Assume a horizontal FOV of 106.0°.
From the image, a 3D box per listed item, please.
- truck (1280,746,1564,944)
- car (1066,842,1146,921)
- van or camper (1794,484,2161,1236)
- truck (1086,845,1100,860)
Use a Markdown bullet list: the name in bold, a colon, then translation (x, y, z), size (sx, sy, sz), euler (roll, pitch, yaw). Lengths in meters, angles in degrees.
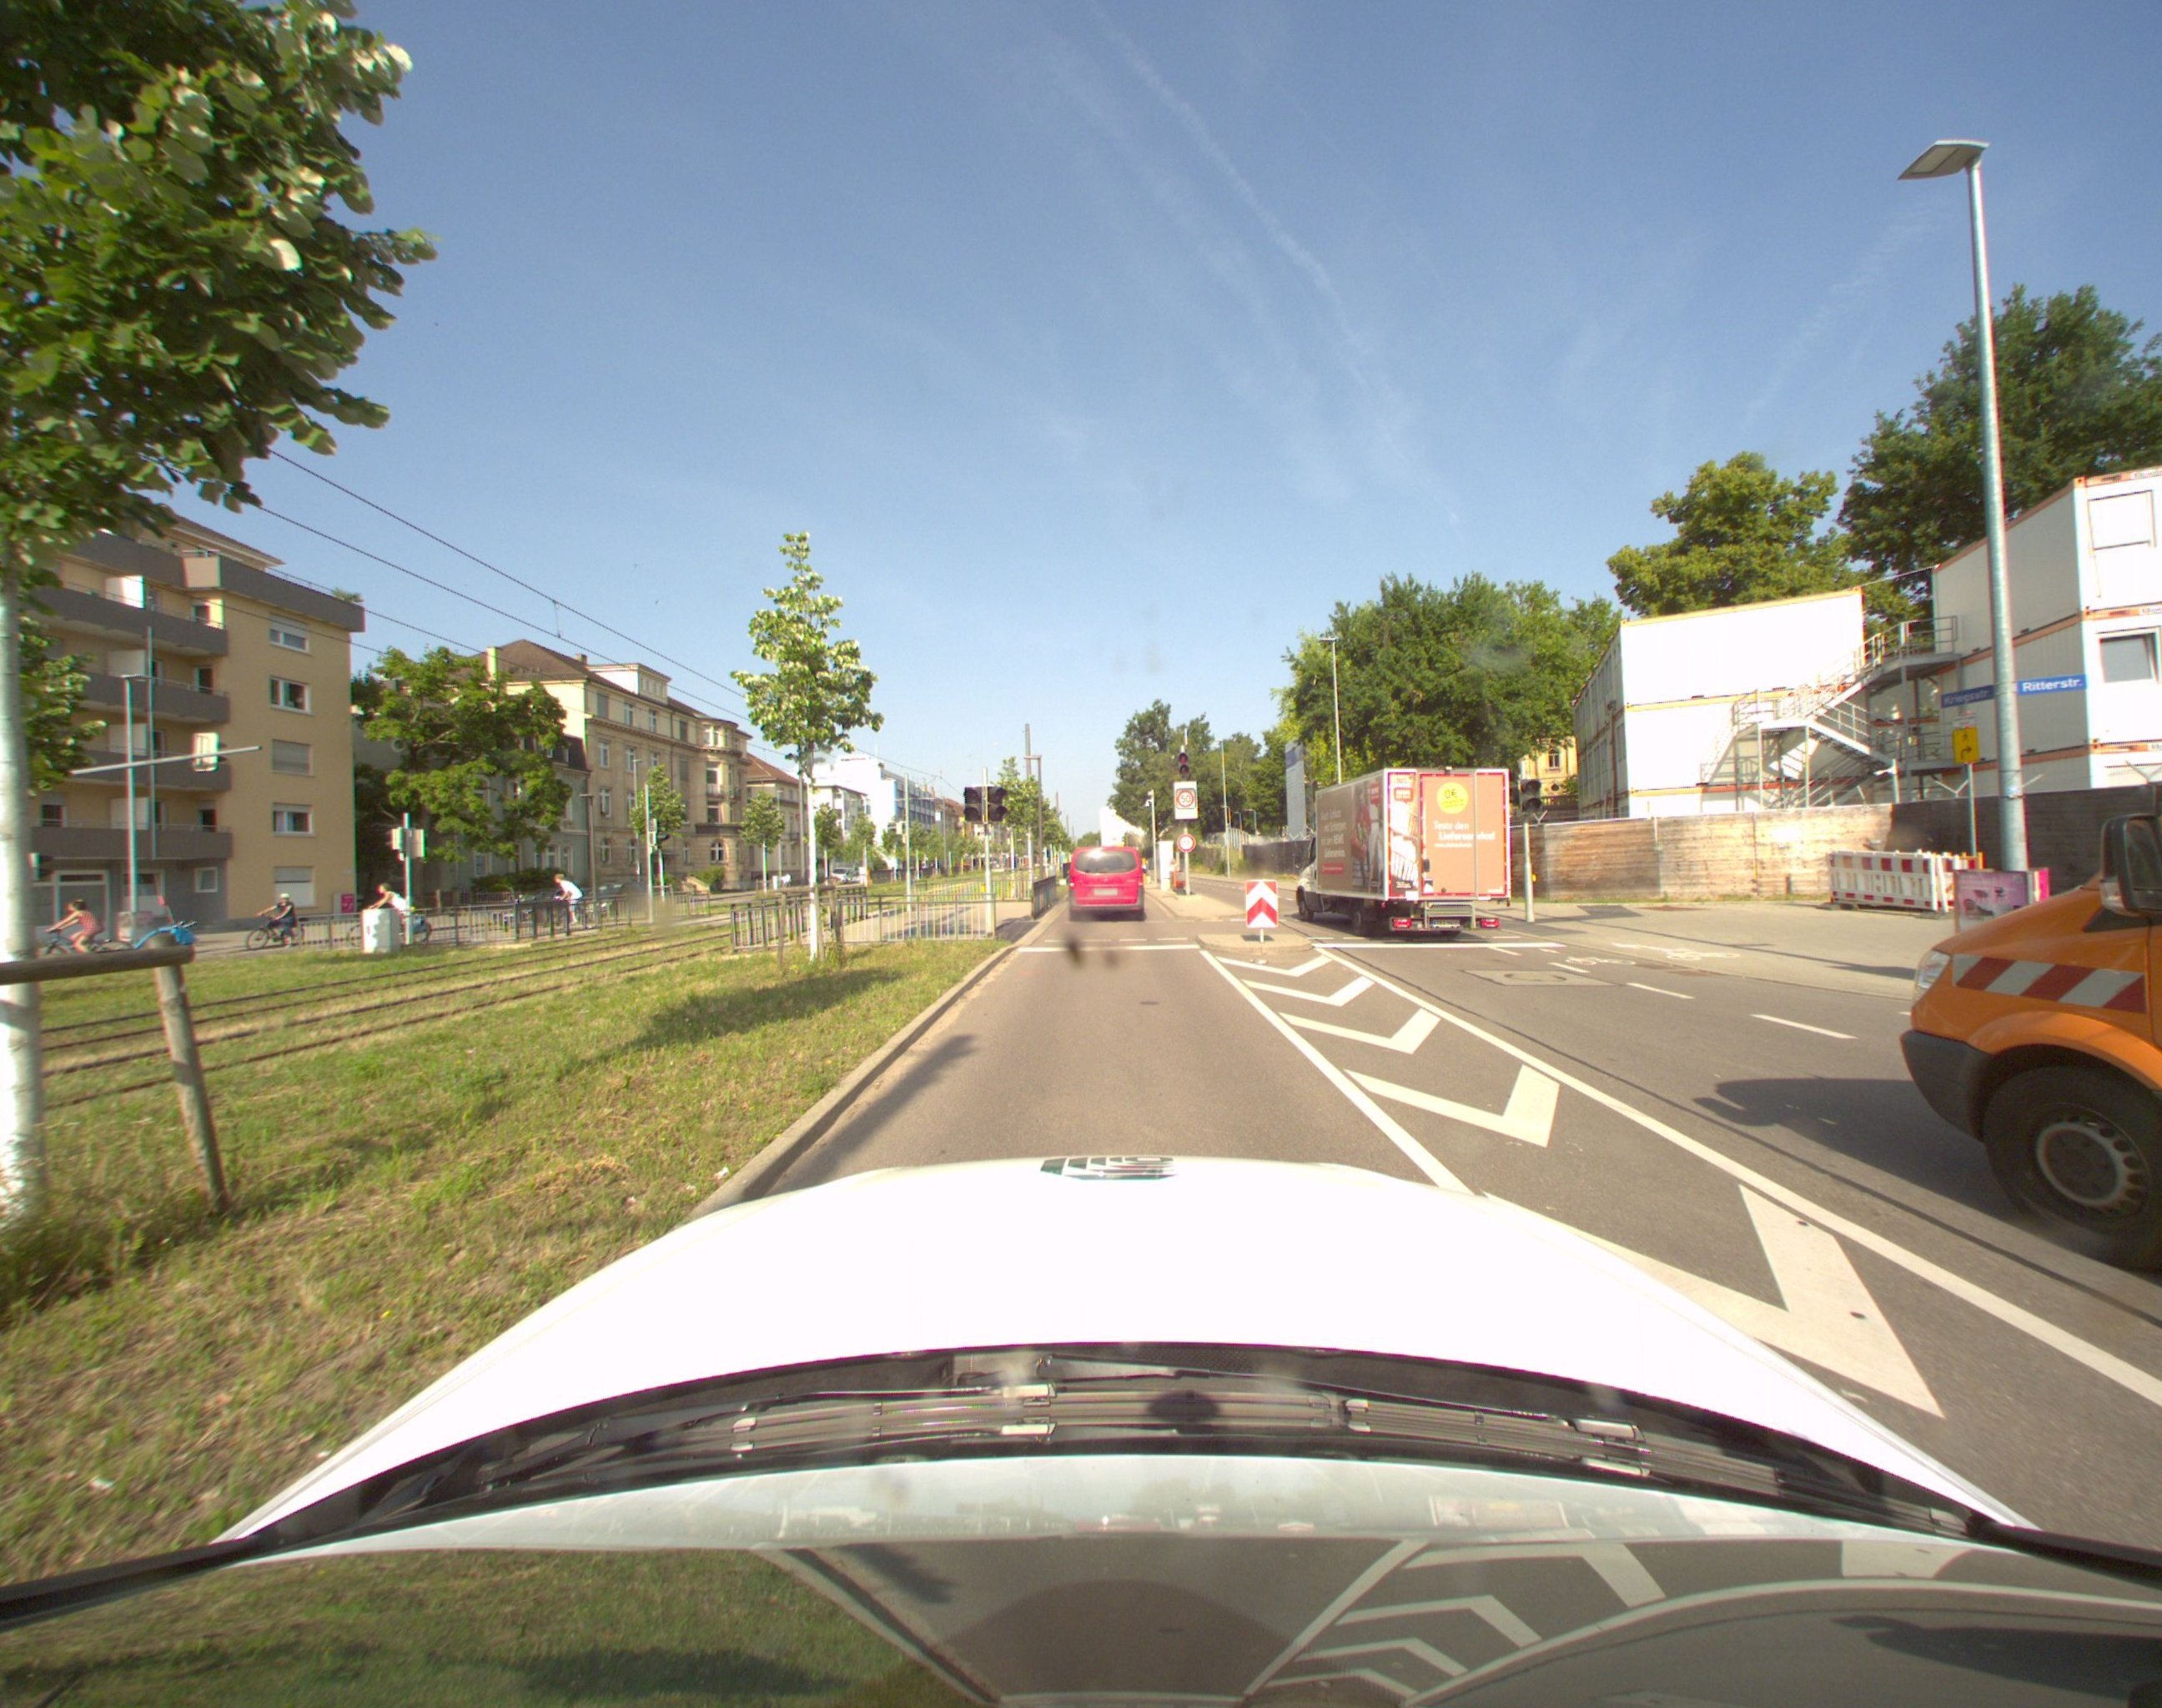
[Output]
- **truck**: translation (6.227, -0.075, 16.509), size (2.494, 3.061, 7.818), euler (0, -1, 0)
- **car**: translation (0.652, 0.661, 21.349), size (1.894, 1.859, 4.001), euler (0, -1, 2)
- **van or camper**: translation (4.408, 0.003, 1.054), size (1.977, 2.472, 6.069), euler (-2, 0, 5)
- **truck**: translation (2.982, -0.316, 210.036), size (3.380, 3.726, 10.449), euler (-2, -1, 0)
